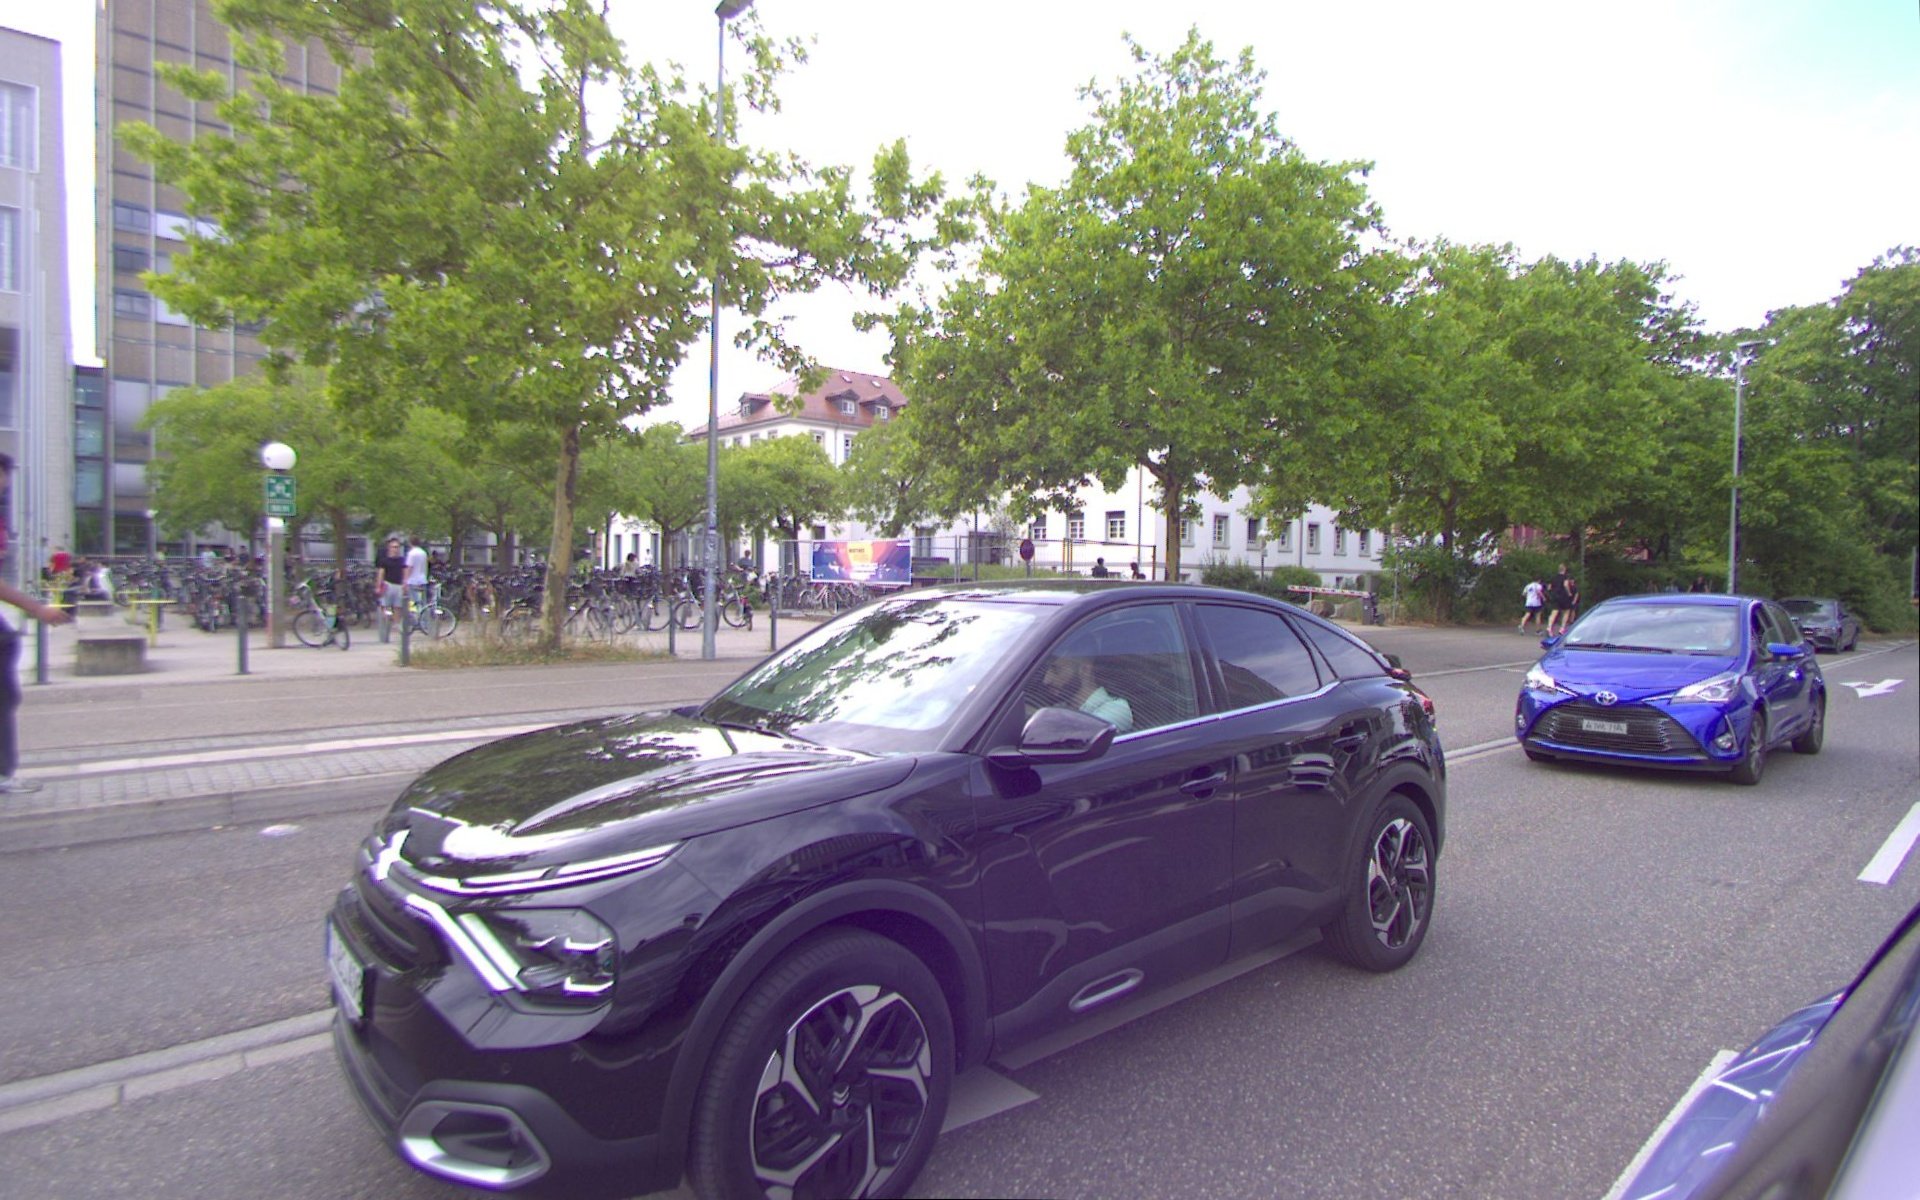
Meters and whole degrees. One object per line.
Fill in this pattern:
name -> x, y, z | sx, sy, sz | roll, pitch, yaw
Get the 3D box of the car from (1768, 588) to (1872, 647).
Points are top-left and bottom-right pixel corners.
car -> 23.528, 0.420, 27.638 | 3.948, 1.481, 1.605 | -1, 2, -41

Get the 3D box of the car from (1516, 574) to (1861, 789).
car -> 6.647, 0.541, 9.093 | 3.766, 1.512, 1.702 | -1, 2, -41

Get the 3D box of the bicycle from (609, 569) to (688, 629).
bicycle -> -6.469, -0.058, 20.930 | 0.705, 1.156, 2.472 | 0, 2, -39

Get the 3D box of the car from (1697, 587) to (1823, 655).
car -> 19.770, 0.454, 24.958 | 3.766, 1.385, 1.703 | -1, 6, -41

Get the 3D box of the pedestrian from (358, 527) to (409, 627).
pedestrian -> -11.743, -0.462, 20.624 | 0.675, 1.988, 0.601 | 0, 0, 10

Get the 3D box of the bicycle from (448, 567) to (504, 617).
bicycle -> -11.884, -0.212, 24.818 | 0.705, 1.156, 2.472 | 0, 2, -39

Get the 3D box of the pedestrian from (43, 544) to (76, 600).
pedestrian -> -26.388, -0.816, 29.669 | 0.724, 1.617, 0.594 | 0, 0, 37

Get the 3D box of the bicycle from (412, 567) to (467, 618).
bicycle -> -12.514, -0.195, 24.297 | 0.705, 1.156, 2.472 | 0, 2, -39

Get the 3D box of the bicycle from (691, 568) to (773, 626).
bicycle -> -4.898, -0.088, 21.586 | 0.705, 1.156, 2.472 | 0, 2, -39

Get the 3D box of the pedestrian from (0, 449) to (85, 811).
pedestrian -> -5.354, 0.149, 5.373 | 1.046, 1.876, 0.726 | -1, 2, -43

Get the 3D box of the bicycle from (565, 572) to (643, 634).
bicycle -> -7.185, 0.033, 20.334 | 0.705, 1.156, 2.472 | 0, 2, -39

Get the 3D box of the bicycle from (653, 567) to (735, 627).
bicycle -> -5.558, -0.091, 21.024 | 0.705, 1.156, 2.472 | 0, 2, -39

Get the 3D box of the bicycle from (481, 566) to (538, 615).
bicycle -> -11.287, -0.265, 25.303 | 0.705, 1.156, 2.472 | 0, 2, -39

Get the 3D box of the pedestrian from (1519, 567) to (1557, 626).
pedestrian -> 15.738, -0.104, 27.569 | 0.790, 1.584, 0.645 | 0, 2, -41

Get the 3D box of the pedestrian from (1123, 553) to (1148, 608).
pedestrian -> 5.770, -0.636, 33.221 | 0.583, 1.774, 0.531 | 0, 1, -36

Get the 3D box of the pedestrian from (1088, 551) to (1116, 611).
pedestrian -> 4.243, -0.564, 30.297 | 0.583, 1.760, 0.586 | 0, 1, -39

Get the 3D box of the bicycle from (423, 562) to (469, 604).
bicycle -> -14.818, -0.513, 29.124 | 0.705, 1.156, 2.472 | 0, 2, -39

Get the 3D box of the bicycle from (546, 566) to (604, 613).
bicycle -> -10.049, -0.290, 26.346 | 0.705, 1.156, 2.472 | 0, 2, -39

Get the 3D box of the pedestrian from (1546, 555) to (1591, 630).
pedestrian -> 16.240, -0.204, 27.018 | 0.747, 1.957, 0.797 | 0, 2, -41

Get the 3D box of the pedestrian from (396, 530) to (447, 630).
pedestrian -> -10.908, -0.402, 20.513 | 0.675, 1.988, 0.601 | 0, 0, 10

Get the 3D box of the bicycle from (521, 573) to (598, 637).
bicycle -> -7.874, 0.063, 19.822 | 0.705, 1.156, 2.472 | 0, 2, -39

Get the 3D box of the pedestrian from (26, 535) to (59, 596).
pedestrian -> -28.273, -1.050, 31.186 | 0.723, 1.866, 0.595 | 0, 0, 35

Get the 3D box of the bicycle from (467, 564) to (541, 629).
bicycle -> -8.701, -0.094, 19.245 | 0.705, 1.156, 2.472 | 0, 2, -39

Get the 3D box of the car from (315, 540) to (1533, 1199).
car -> 0.219, 0.624, 3.636 | 4.101, 1.575, 1.804 | -2, 1, -39

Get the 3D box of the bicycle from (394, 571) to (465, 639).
bicycle -> -9.745, 0.053, 18.545 | 0.705, 1.156, 2.472 | 0, 2, -39

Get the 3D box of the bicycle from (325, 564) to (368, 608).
bicycle -> -16.707, -0.410, 27.525 | 0.705, 1.156, 2.472 | 0, 2, -39

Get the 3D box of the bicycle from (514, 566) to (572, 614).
bicycle -> -10.660, -0.275, 25.835 | 0.705, 1.156, 2.472 | 0, 2, -39
